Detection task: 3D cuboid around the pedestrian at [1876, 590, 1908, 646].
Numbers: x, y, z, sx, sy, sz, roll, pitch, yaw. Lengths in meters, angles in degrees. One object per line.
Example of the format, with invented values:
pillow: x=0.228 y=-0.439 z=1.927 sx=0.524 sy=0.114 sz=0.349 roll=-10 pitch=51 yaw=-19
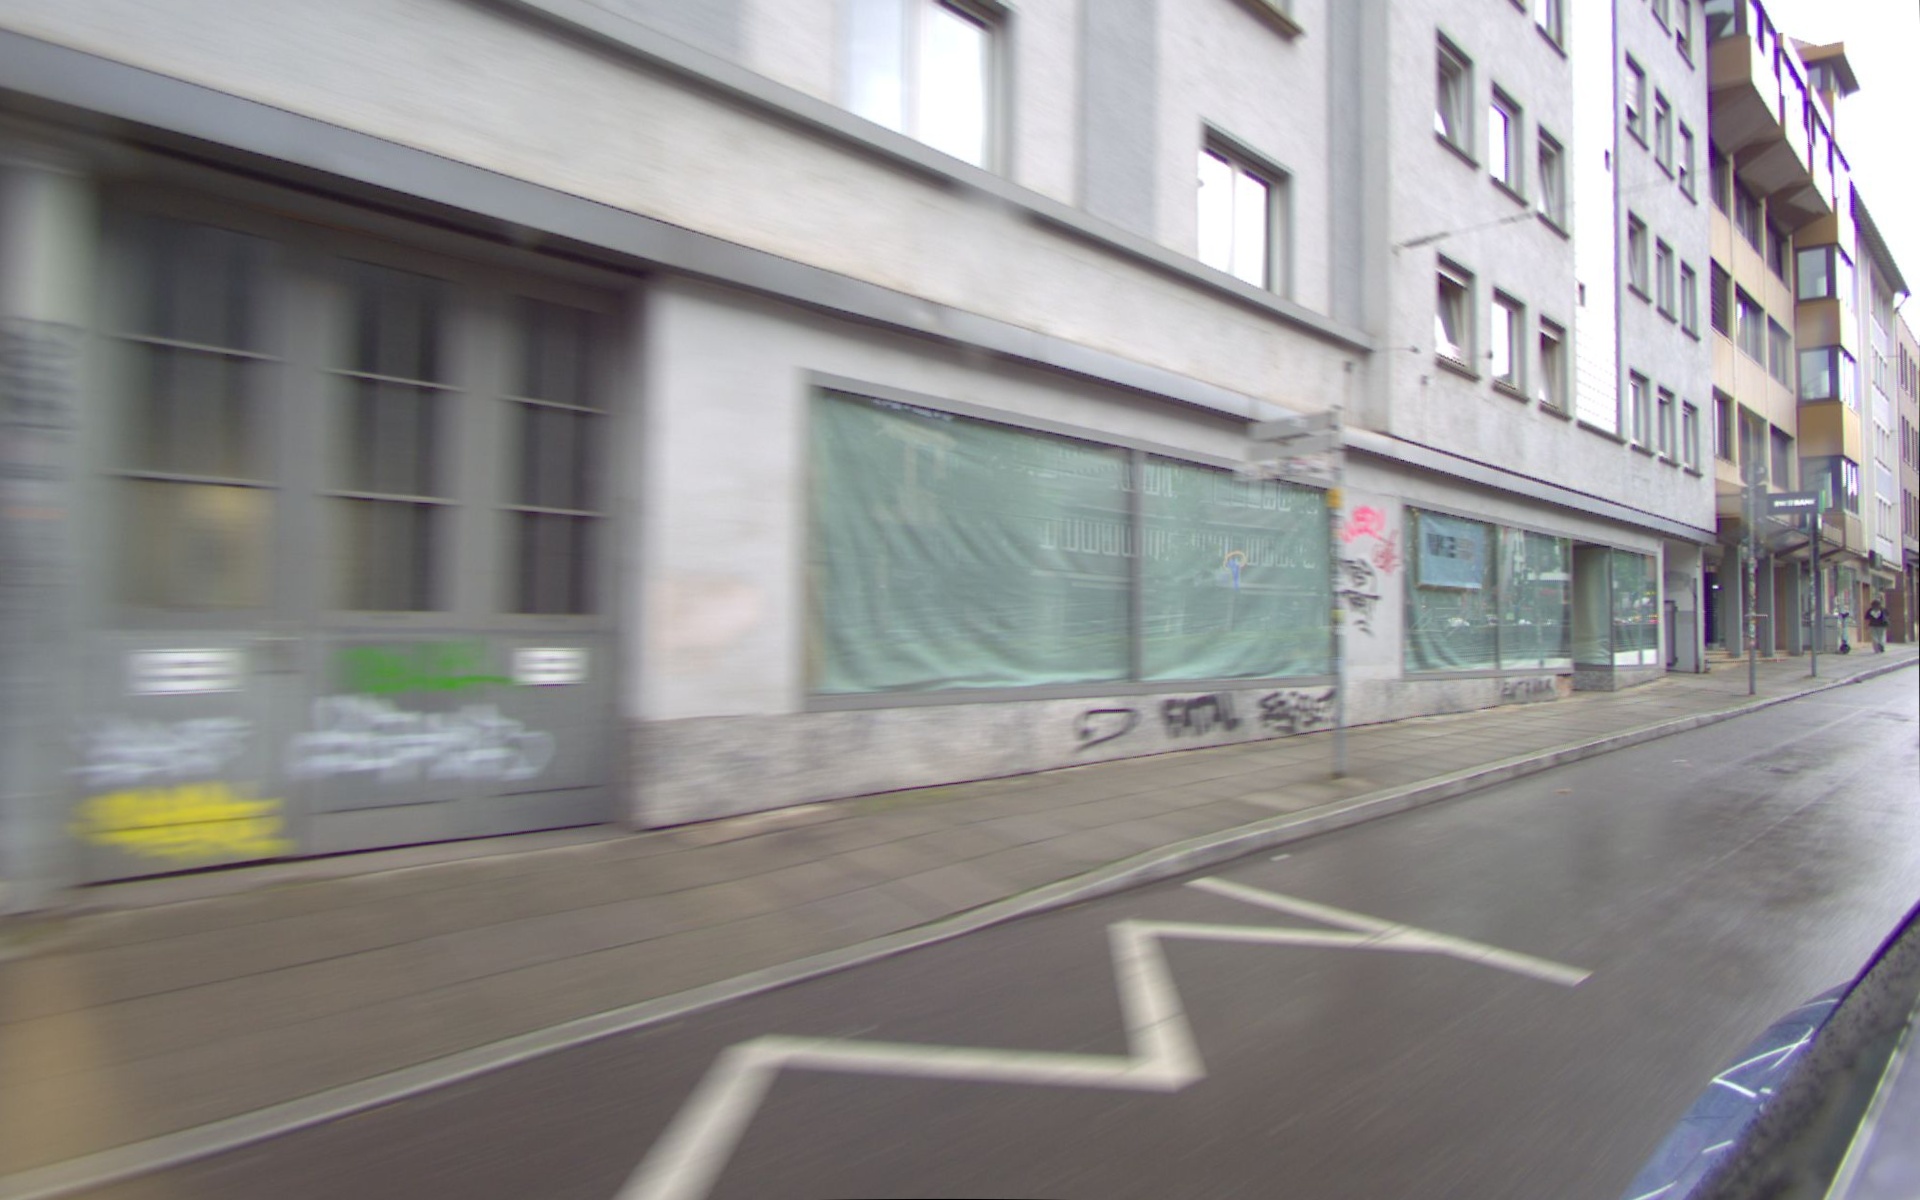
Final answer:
pedestrian: x=28.957 y=0.547 z=31.439 sx=0.867 sy=1.722 sz=0.639 roll=1 pitch=-1 yaw=-40
